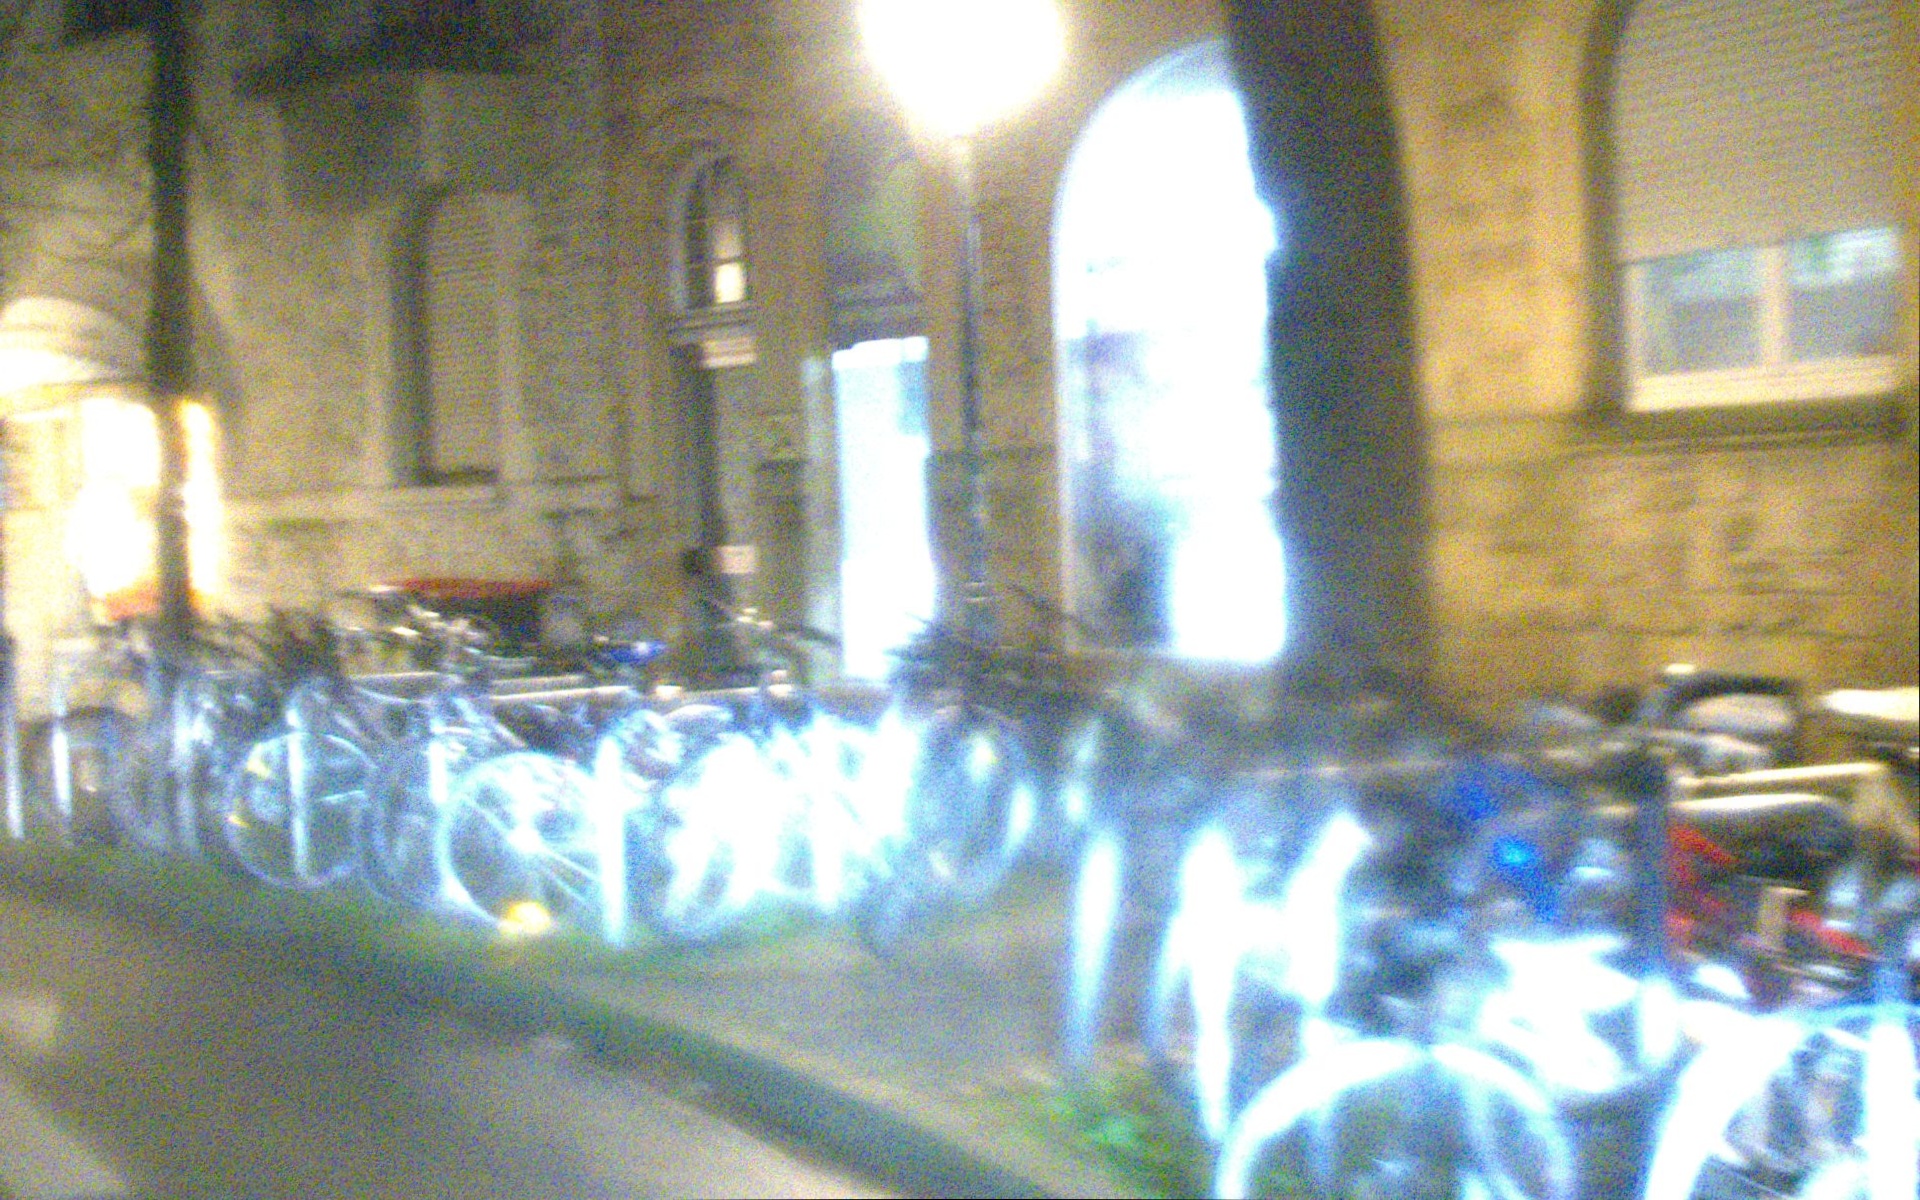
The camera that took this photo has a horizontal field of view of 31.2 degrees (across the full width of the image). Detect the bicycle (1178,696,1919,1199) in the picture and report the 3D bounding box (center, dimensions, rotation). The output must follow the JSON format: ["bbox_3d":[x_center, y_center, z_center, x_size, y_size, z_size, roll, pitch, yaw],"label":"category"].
[{"bbox_3d":[1.452,0.717,6.437,1.968,1.003,0.642,-3,1,-5],"label":"bicycle"}]

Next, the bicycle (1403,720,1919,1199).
[{"bbox_3d":[1.808,0.717,5.824,1.968,1.003,0.642,-3,1,-5],"label":"bicycle"}]

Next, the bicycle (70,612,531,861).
[{"bbox_3d":[-3.040,0.606,15.951,1.969,1.003,0.642,-3,1,-34],"label":"bicycle"}]

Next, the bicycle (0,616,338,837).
[{"bbox_3d":[-4.254,0.629,17.603,1.969,1.003,0.642,-3,1,-34],"label":"bicycle"}]

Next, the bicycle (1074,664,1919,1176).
[{"bbox_3d":[1.299,0.702,7.878,1.968,1.003,0.642,-3,1,-5],"label":"bicycle"}]

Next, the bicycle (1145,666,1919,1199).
[{"bbox_3d":[1.429,0.697,7.185,1.968,1.030,0.642,-3,1,-5],"label":"bicycle"}]

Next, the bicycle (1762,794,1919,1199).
[{"bbox_3d":[2.122,0.738,4.460,1.968,1.003,0.642,-3,1,-5],"label":"bicycle"}]

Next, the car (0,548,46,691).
[{"bbox_3d":[-11.189,0.316,36.179,1.648,1.519,3.580,-6,1,8],"label":"car"}]

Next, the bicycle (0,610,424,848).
[{"bbox_3d":[-3.719,0.614,17.055,1.969,1.031,0.642,-3,1,-34],"label":"bicycle"}]

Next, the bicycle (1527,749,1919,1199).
[{"bbox_3d":[1.921,0.727,5.181,1.968,1.003,0.642,-3,1,-5],"label":"bicycle"}]

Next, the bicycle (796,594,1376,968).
[{"bbox_3d":[0.439,0.564,11.489,1.819,1.083,0.721,-3,1,-34],"label":"bicycle"}]

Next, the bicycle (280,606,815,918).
[{"bbox_3d":[-1.598,0.602,13.512,1.969,1.061,0.642,-3,1,-34],"label":"bicycle"}]

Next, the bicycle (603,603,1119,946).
[{"bbox_3d":[-0.313,0.582,12.292,0.642,1.050,1.970,-2,1,41],"label":"bicycle"}]

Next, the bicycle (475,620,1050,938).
[{"bbox_3d":[-0.713,0.625,12.353,1.968,1.003,0.642,-3,1,-5],"label":"bicycle"}]

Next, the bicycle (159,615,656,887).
[{"bbox_3d":[-2.343,0.615,14.708,1.969,1.003,0.642,-3,1,-34],"label":"bicycle"}]
